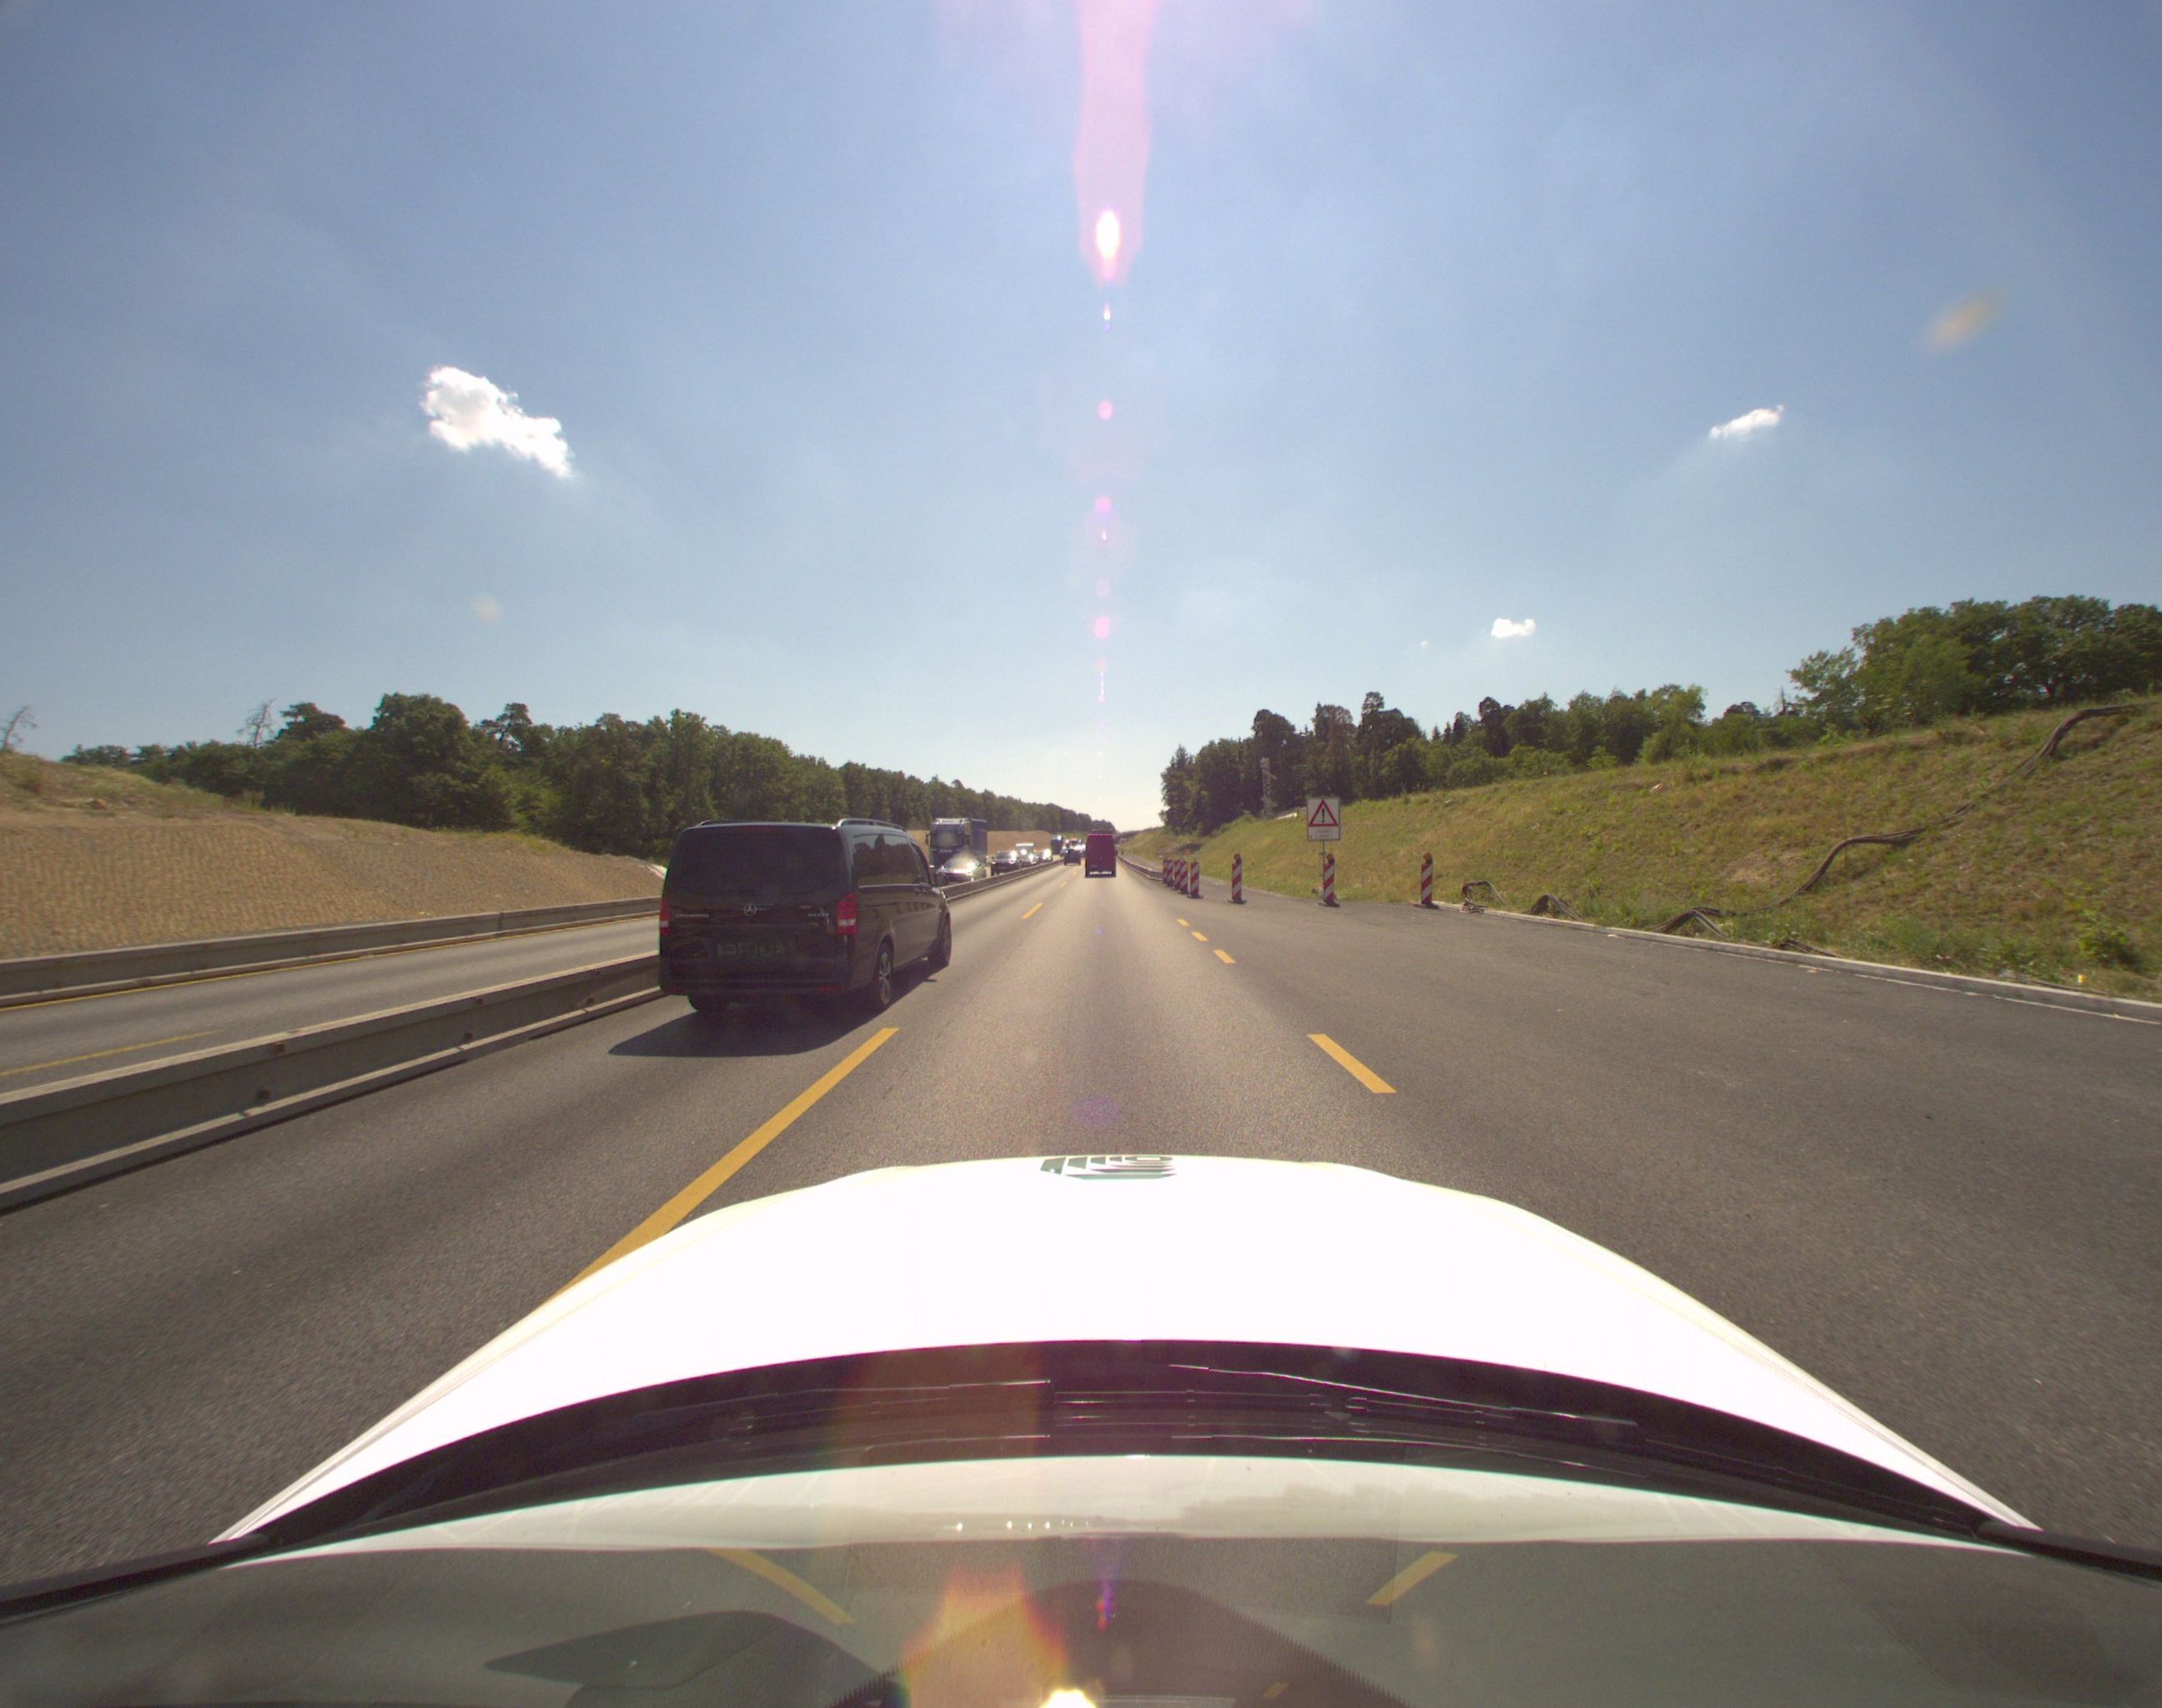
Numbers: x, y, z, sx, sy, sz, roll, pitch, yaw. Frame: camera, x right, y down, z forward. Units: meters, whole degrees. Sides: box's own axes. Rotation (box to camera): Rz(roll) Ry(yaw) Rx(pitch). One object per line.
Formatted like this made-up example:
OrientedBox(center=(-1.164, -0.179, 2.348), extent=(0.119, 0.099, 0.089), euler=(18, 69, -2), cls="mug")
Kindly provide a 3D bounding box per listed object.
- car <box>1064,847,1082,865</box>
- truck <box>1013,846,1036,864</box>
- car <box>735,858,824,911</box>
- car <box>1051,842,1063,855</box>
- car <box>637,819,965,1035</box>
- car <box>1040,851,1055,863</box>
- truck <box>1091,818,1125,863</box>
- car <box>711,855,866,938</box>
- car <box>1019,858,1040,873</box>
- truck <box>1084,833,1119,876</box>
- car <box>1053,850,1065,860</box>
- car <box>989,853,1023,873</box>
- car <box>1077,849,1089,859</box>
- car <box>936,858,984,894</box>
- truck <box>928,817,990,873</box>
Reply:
OrientedBox(center=(-0.826, 0.217, 88.802), extent=(1.745, 1.824, 4.784), euler=(0, 0, 2), cls="car")
OrientedBox(center=(-7.527, 0.199, 109.050), extent=(2.390, 2.358, 5.229), euler=(0, -1, 2), cls="truck")
OrientedBox(center=(-8.816, 0.881, 24.055), extent=(1.371, 1.462, 3.153), euler=(0, -1, 1), cls="car")
OrientedBox(center=(-5.170, -1.148, 176.274), extent=(2.377, 2.580, 3.999), euler=(0, -1, 0), cls="car")
OrientedBox(center=(-2.788, 0.646, 9.717), extent=(1.867, 1.851, 5.480), euler=(0, -1, 2), cls="car")
OrientedBox(center=(-3.909, 0.357, 94.529), extent=(1.458, 1.327, 3.373), euler=(0, -1, 3), cls="car")
OrientedBox(center=(3.726, -1.653, 112.352), extent=(4.384, 5.496, 16.607), euler=(0, -1, 2), cls="truck")
OrientedBox(center=(-6.062, 0.837, 17.388), extent=(1.618, 1.557, 4.072), euler=(0, -1, 3), cls="car")
OrientedBox(center=(-4.617, 1.045, 73.216), extent=(1.458, 1.327, 3.373), euler=(0, -1, 3), cls="car")
OrientedBox(center=(1.304, 0.086, 52.651), extent=(2.146, 2.590, 5.332), euler=(0, -1, 0), cls="truck")
OrientedBox(center=(-3.943, 0.209, 147.161), extent=(1.769, 1.670, 3.842), euler=(0, -1, 2), cls="car")
OrientedBox(center=(-5.122, 0.634, 56.116), extent=(1.834, 1.327, 3.944), euler=(0, -1, 3), cls="car")
OrientedBox(center=(0.293, 0.053, 128.599), extent=(1.824, 1.522, 3.962), euler=(0, -1, 2), cls="car")
OrientedBox(center=(-5.550, 0.999, 37.710), extent=(1.677, 1.596, 3.225), euler=(0, -1, 1), cls="car")
OrientedBox(center=(-8.420, -0.478, 57.363), extent=(2.499, 3.617, 9.645), euler=(0, -1, 2), cls="truck")
